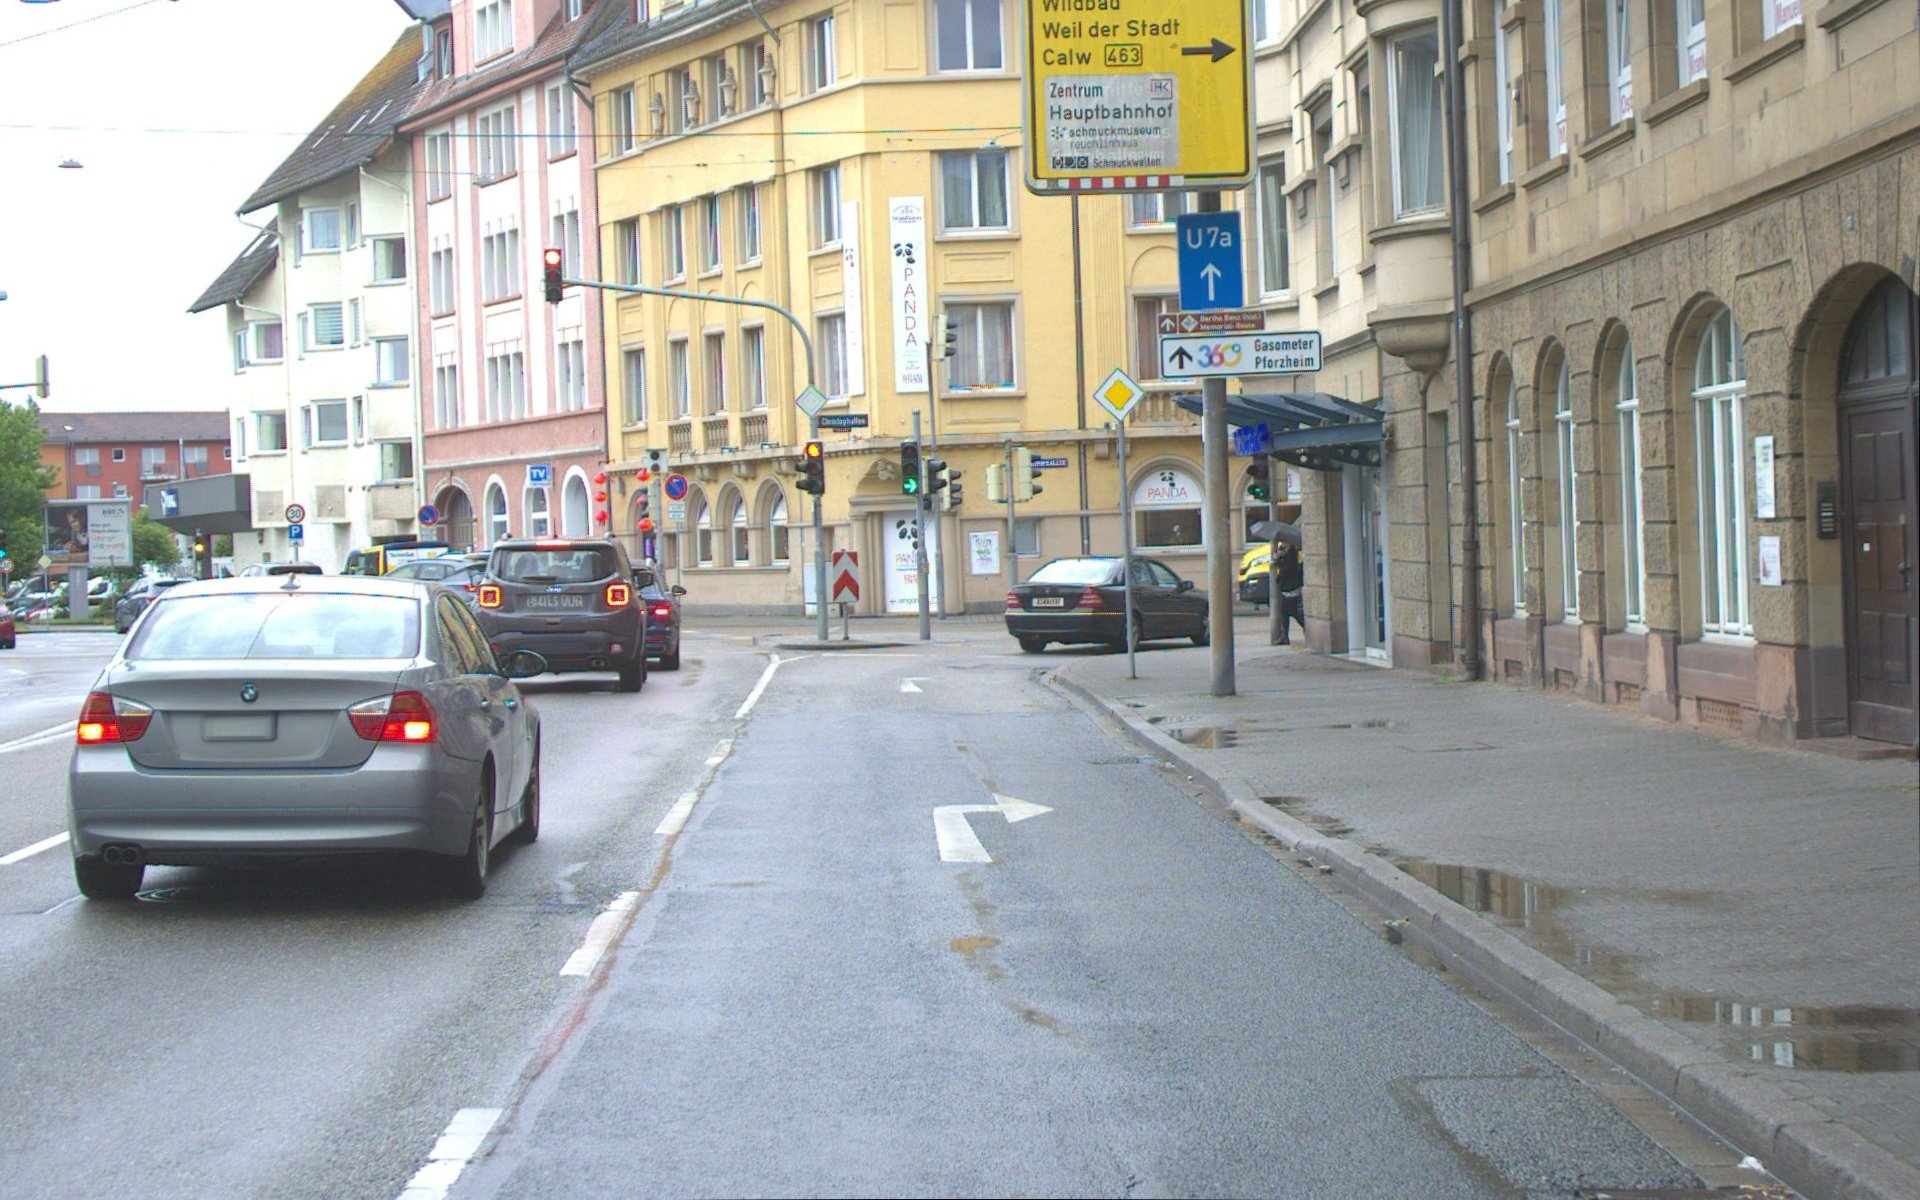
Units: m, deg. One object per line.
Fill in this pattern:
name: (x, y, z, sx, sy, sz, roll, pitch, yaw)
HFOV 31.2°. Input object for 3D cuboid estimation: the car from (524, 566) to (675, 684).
car: (-4.566, 0.290, 44.048, 1.802, 1.401, 4.685, -1, 0, -5)

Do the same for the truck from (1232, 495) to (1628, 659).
truck: (8.839, -0.436, 65.024, 7.090, 2.841, 2.083, -2, 0, -2)

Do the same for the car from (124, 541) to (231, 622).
car: (-20.456, -0.490, 89.776, 1.993, 2.007, 4.001, -2, 1, -23)

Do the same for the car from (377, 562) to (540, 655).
car: (-10.397, 0.186, 71.031, 1.993, 1.809, 4.000, -2, 0, -29)

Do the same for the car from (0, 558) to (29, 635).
car: (-21.805, -0.085, 75.947, 1.844, 1.678, 4.001, 0, 0, -23)

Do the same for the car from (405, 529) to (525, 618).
car: (-12.487, -0.672, 86.560, 1.761, 2.173, 4.001, 1, 0, -27)

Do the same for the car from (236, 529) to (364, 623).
car: (-14.888, -0.545, 77.425, 1.993, 2.007, 4.001, -2, 1, -23)

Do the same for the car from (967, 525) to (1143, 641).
car: (1.321, -0.240, 49.522, 1.799, 1.558, 4.001, -1, 0, -9)

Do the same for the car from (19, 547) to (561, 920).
car: (-2.947, 0.524, 16.019, 1.799, 1.459, 4.371, -1, 0, -2)

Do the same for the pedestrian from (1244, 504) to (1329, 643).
pedestrian: (4.571, -0.382, 48.199, 1.057, 1.897, 1.025, -2, 1, 1)

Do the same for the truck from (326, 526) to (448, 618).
truck: (-15.299, -0.739, 91.601, 2.026, 2.381, 4.237, 0, 0, -27)

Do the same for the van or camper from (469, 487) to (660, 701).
van or camper: (-4.237, -0.100, 37.360, 1.854, 2.139, 4.143, -2, 1, -5)
